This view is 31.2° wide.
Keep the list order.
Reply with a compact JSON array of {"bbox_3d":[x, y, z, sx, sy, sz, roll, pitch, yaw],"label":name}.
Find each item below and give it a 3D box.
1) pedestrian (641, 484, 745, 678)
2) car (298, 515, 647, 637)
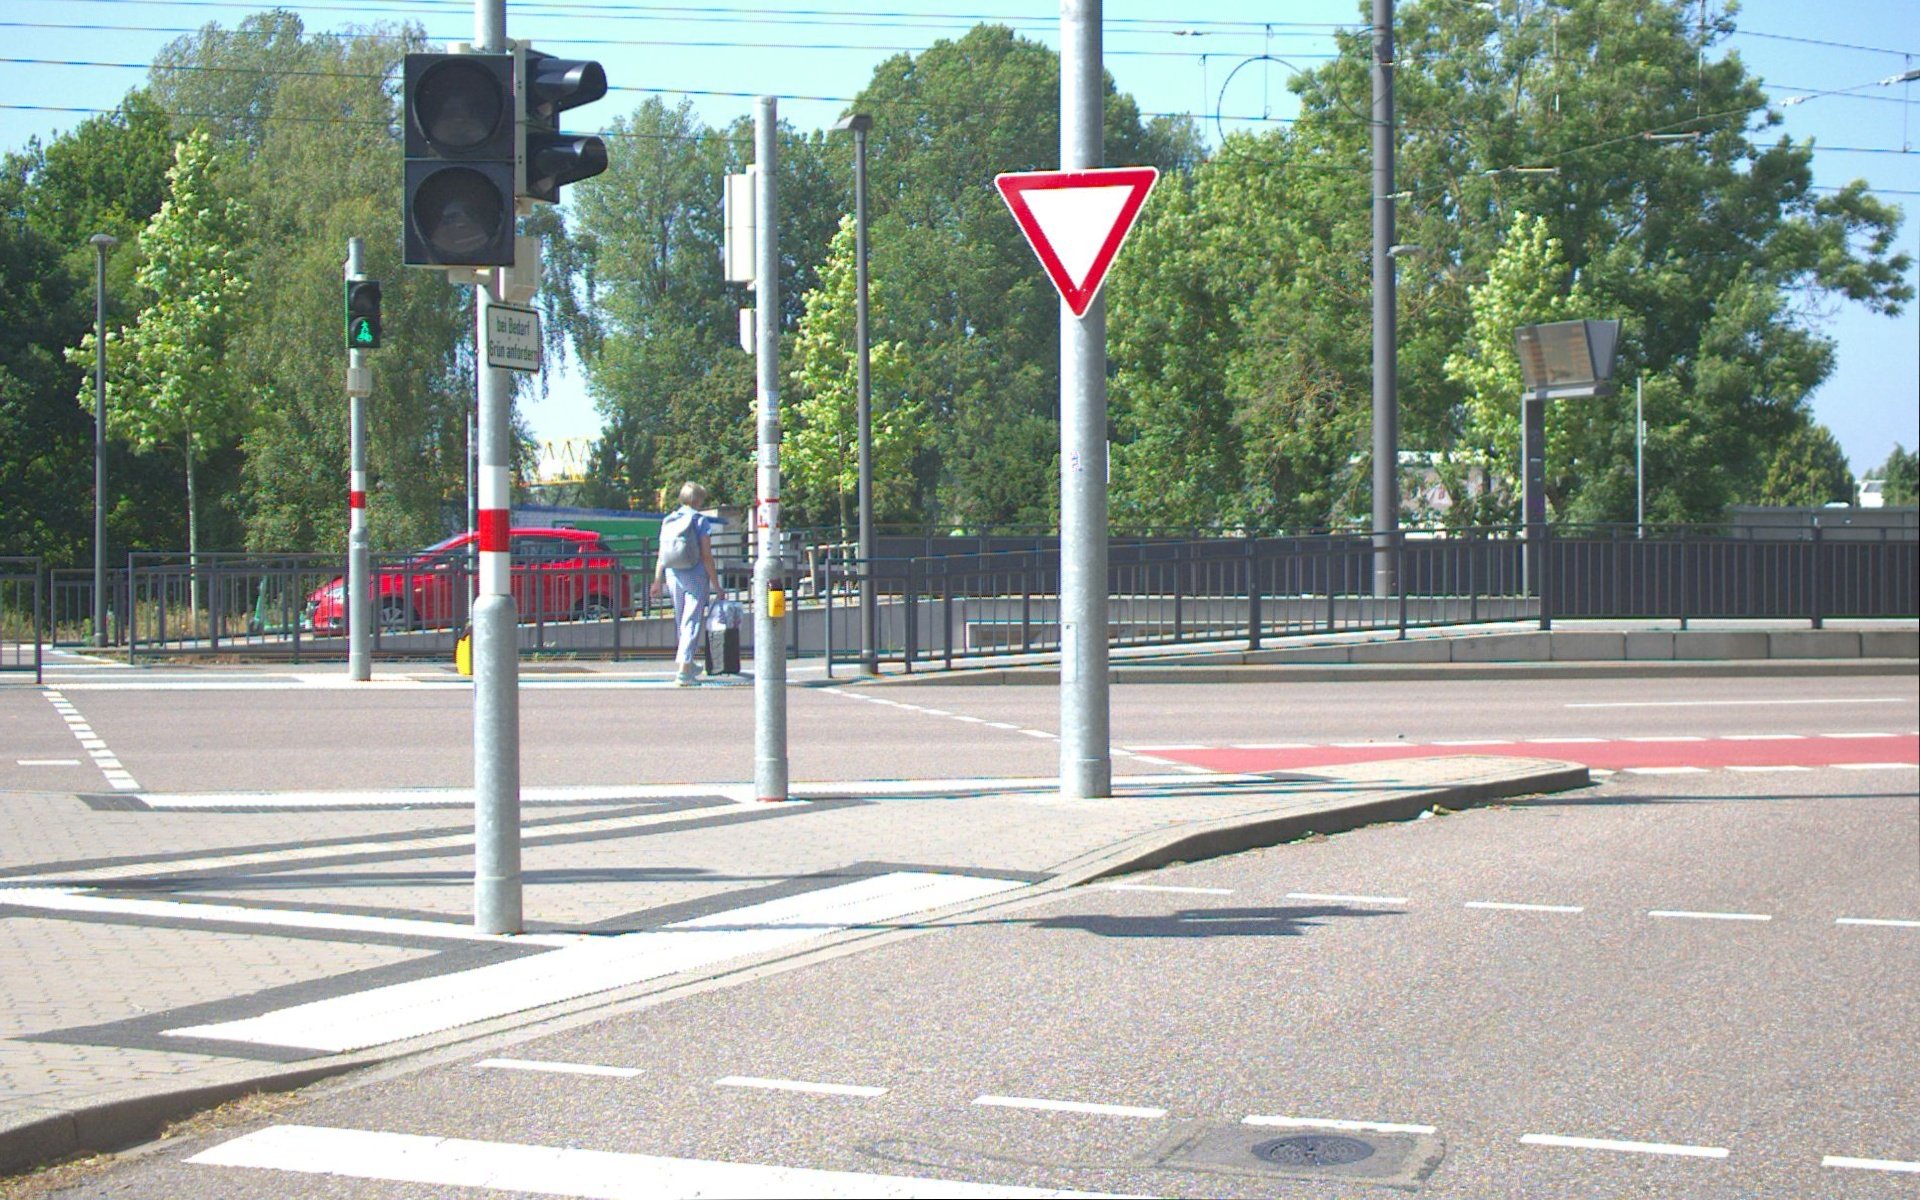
[{"bbox_3d":[-2.141,-0.165,27.525,0.772,1.505,1.008,0,3,-7],"label":"pedestrian"},{"bbox_3d":[-6.033,-0.324,42.503,3.986,1.440,1.747,-1,2,-21],"label":"car"}]
